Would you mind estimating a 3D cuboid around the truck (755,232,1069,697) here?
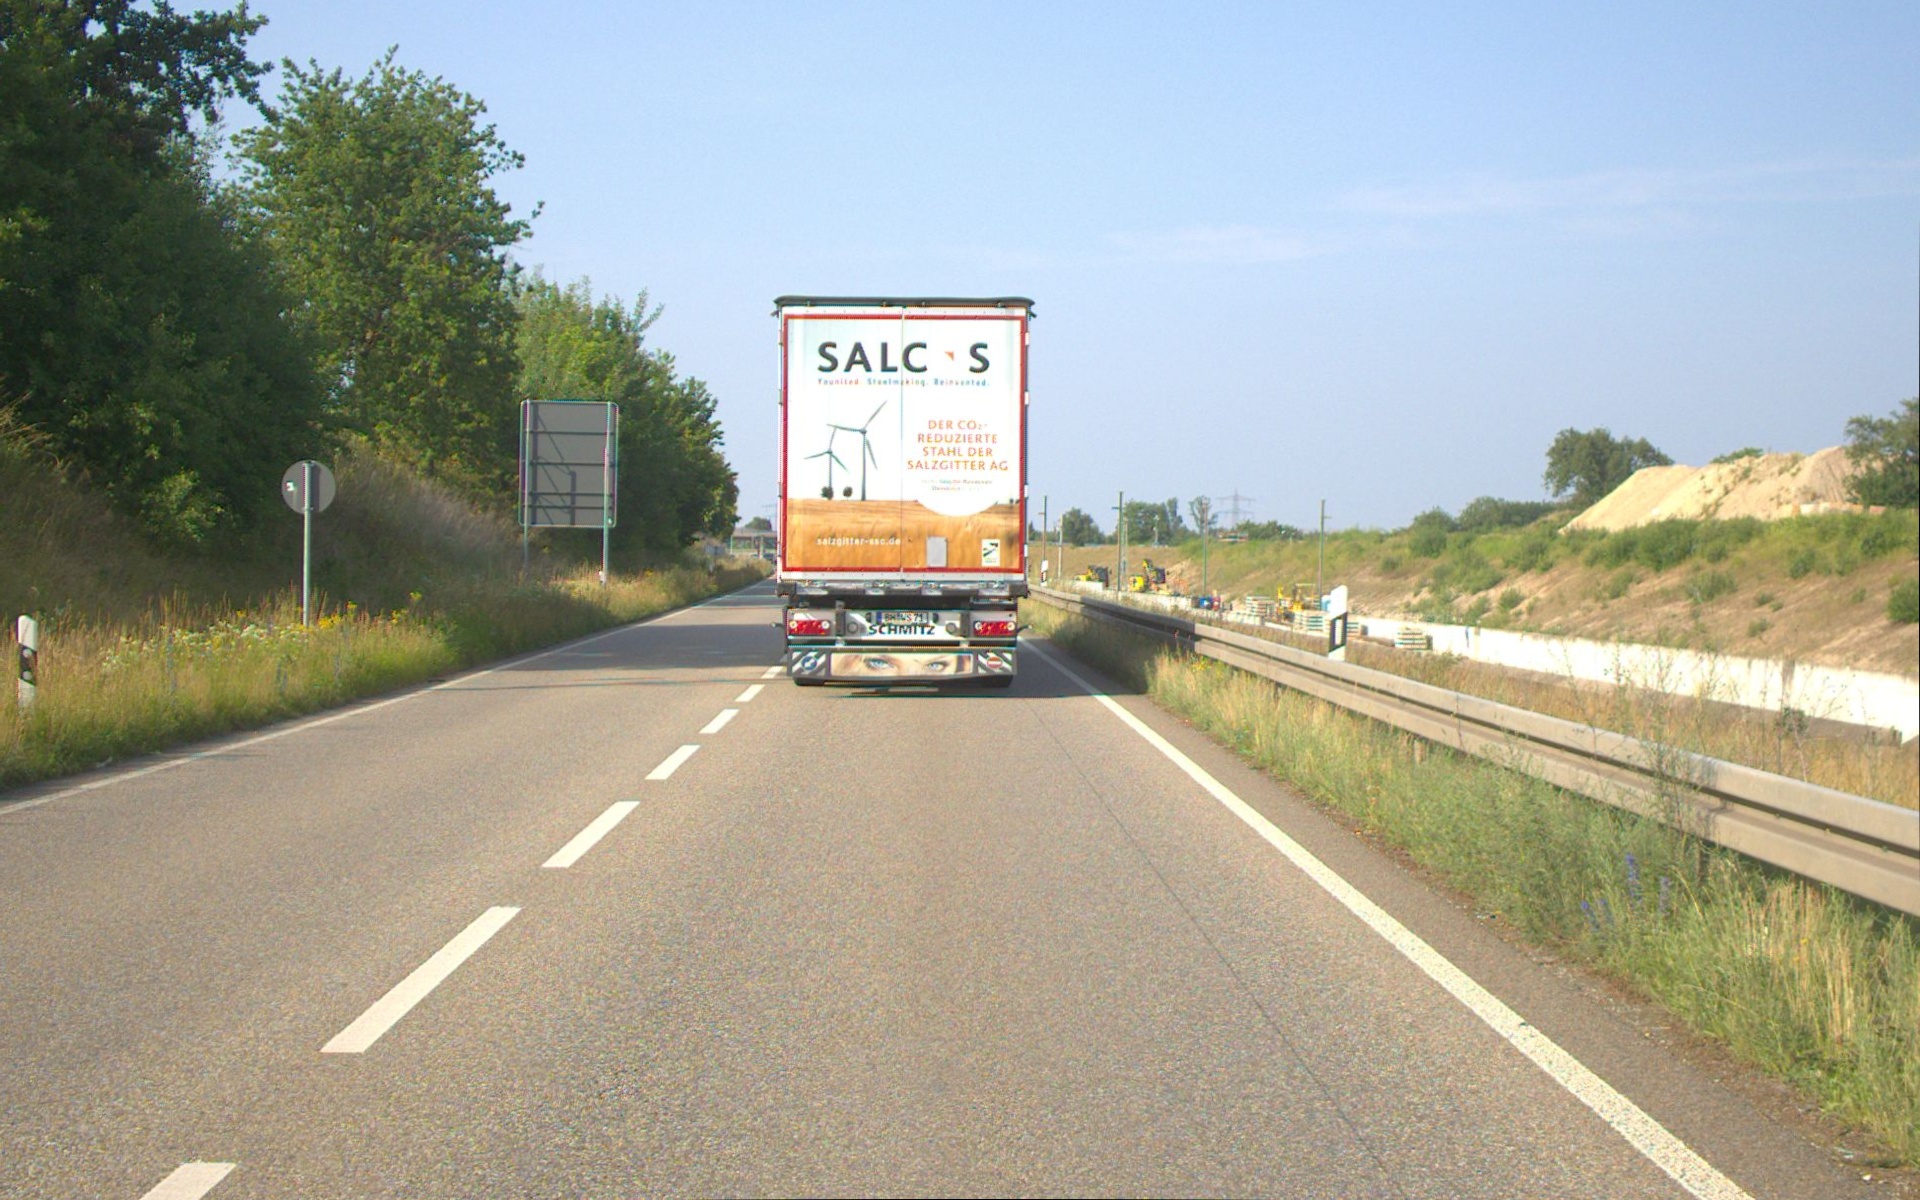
[{"bbox_3d":[-0.640,-1.420,38.848,3.153,4.672,8.442,0,1,-2],"label":"truck"}]
